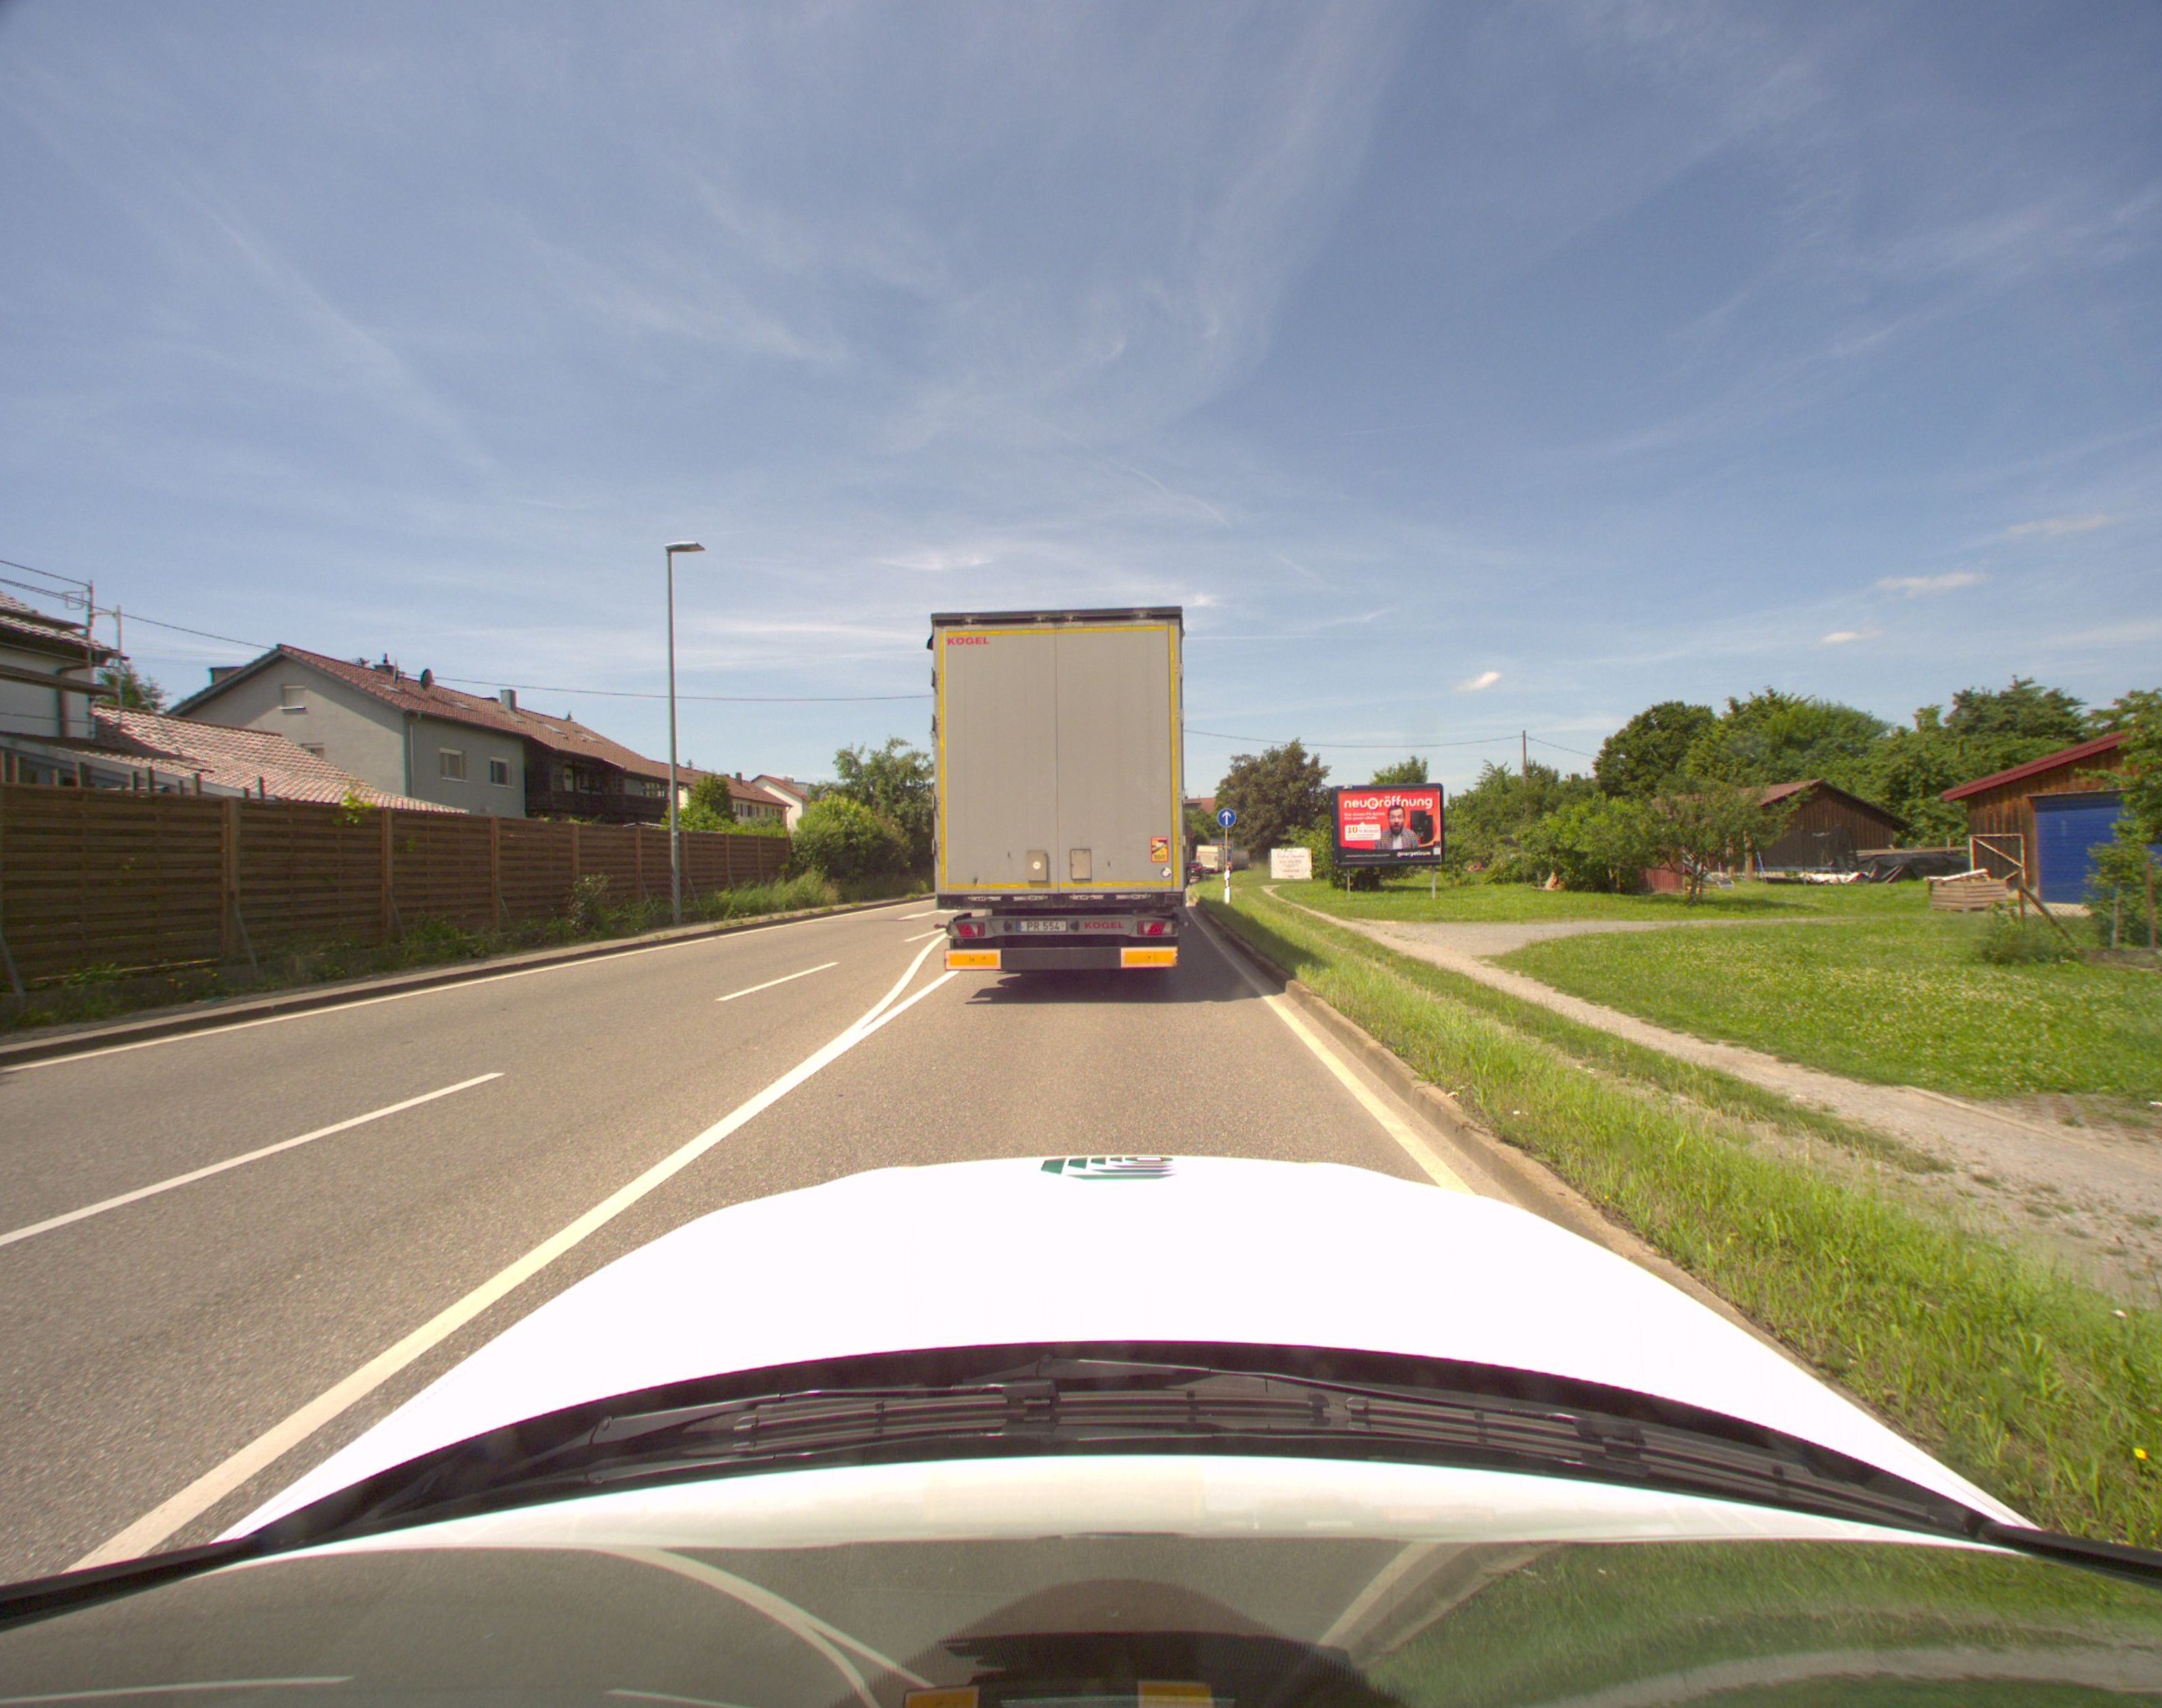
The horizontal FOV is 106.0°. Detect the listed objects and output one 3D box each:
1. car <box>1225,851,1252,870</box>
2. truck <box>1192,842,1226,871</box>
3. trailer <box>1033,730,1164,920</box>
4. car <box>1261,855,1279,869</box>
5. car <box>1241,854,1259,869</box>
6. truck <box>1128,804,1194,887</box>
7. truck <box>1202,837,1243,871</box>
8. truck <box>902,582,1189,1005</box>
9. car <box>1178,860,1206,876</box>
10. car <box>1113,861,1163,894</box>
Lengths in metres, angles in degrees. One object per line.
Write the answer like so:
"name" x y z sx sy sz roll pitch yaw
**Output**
"car" 19.691 0.810 101.437 2.512 2.277 6.410 0 0 18
"truck" 12.863 0.315 81.462 2.524 2.803 6.057 -1 -1 16
"trailer" 0.637 -0.642 21.104 2.812 4.111 6.552 -1 0 4
"car" 27.576 1.141 118.772 1.976 2.014 4.021 -1 -1 22
"car" 23.045 1.012 111.126 1.978 2.014 4.018 -1 -1 17
"truck" 5.263 -0.316 50.529 2.743 4.289 16.460 0 -1 10
"truck" 16.185 -0.036 92.420 3.406 3.604 9.396 -1 0 17
"truck" 0.071 -0.598 13.722 2.809 4.127 11.457 0 0 4
"car" 9.822 1.206 71.755 1.979 1.376 4.015 0 -1 14
"car" 2.505 0.987 35.040 1.808 1.346 3.857 0 -1 9
